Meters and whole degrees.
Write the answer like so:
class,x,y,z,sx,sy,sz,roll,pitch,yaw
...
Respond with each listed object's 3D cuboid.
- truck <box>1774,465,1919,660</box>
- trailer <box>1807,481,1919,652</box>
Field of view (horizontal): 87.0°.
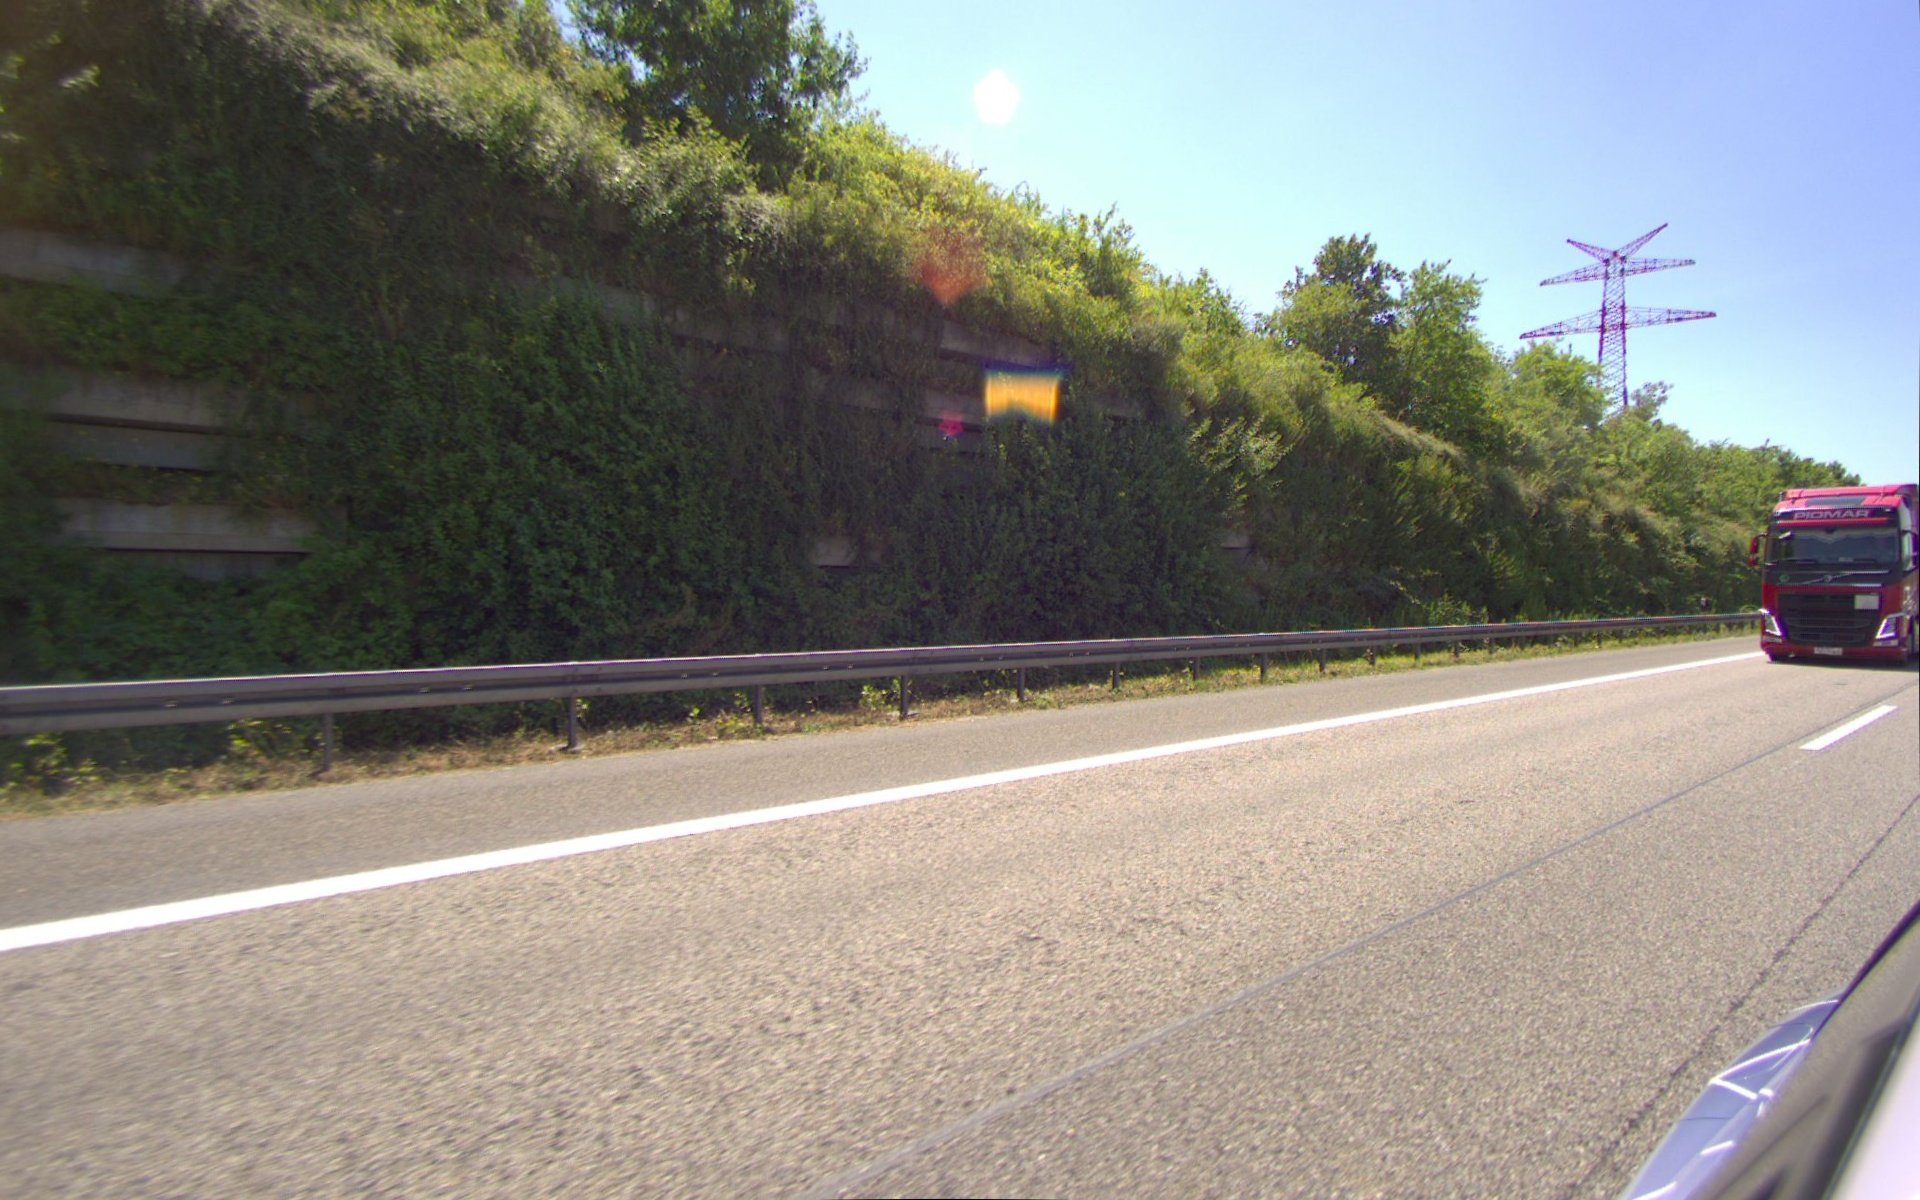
class,x,y,z,sx,sy,sz,roll,pitch,yaw
truck,21.420,-0.795,23.752,6.974,3.969,2.503,0,0,-42
trailer,26.965,-0.826,28.732,14.000,3.959,2.494,0,1,-42
